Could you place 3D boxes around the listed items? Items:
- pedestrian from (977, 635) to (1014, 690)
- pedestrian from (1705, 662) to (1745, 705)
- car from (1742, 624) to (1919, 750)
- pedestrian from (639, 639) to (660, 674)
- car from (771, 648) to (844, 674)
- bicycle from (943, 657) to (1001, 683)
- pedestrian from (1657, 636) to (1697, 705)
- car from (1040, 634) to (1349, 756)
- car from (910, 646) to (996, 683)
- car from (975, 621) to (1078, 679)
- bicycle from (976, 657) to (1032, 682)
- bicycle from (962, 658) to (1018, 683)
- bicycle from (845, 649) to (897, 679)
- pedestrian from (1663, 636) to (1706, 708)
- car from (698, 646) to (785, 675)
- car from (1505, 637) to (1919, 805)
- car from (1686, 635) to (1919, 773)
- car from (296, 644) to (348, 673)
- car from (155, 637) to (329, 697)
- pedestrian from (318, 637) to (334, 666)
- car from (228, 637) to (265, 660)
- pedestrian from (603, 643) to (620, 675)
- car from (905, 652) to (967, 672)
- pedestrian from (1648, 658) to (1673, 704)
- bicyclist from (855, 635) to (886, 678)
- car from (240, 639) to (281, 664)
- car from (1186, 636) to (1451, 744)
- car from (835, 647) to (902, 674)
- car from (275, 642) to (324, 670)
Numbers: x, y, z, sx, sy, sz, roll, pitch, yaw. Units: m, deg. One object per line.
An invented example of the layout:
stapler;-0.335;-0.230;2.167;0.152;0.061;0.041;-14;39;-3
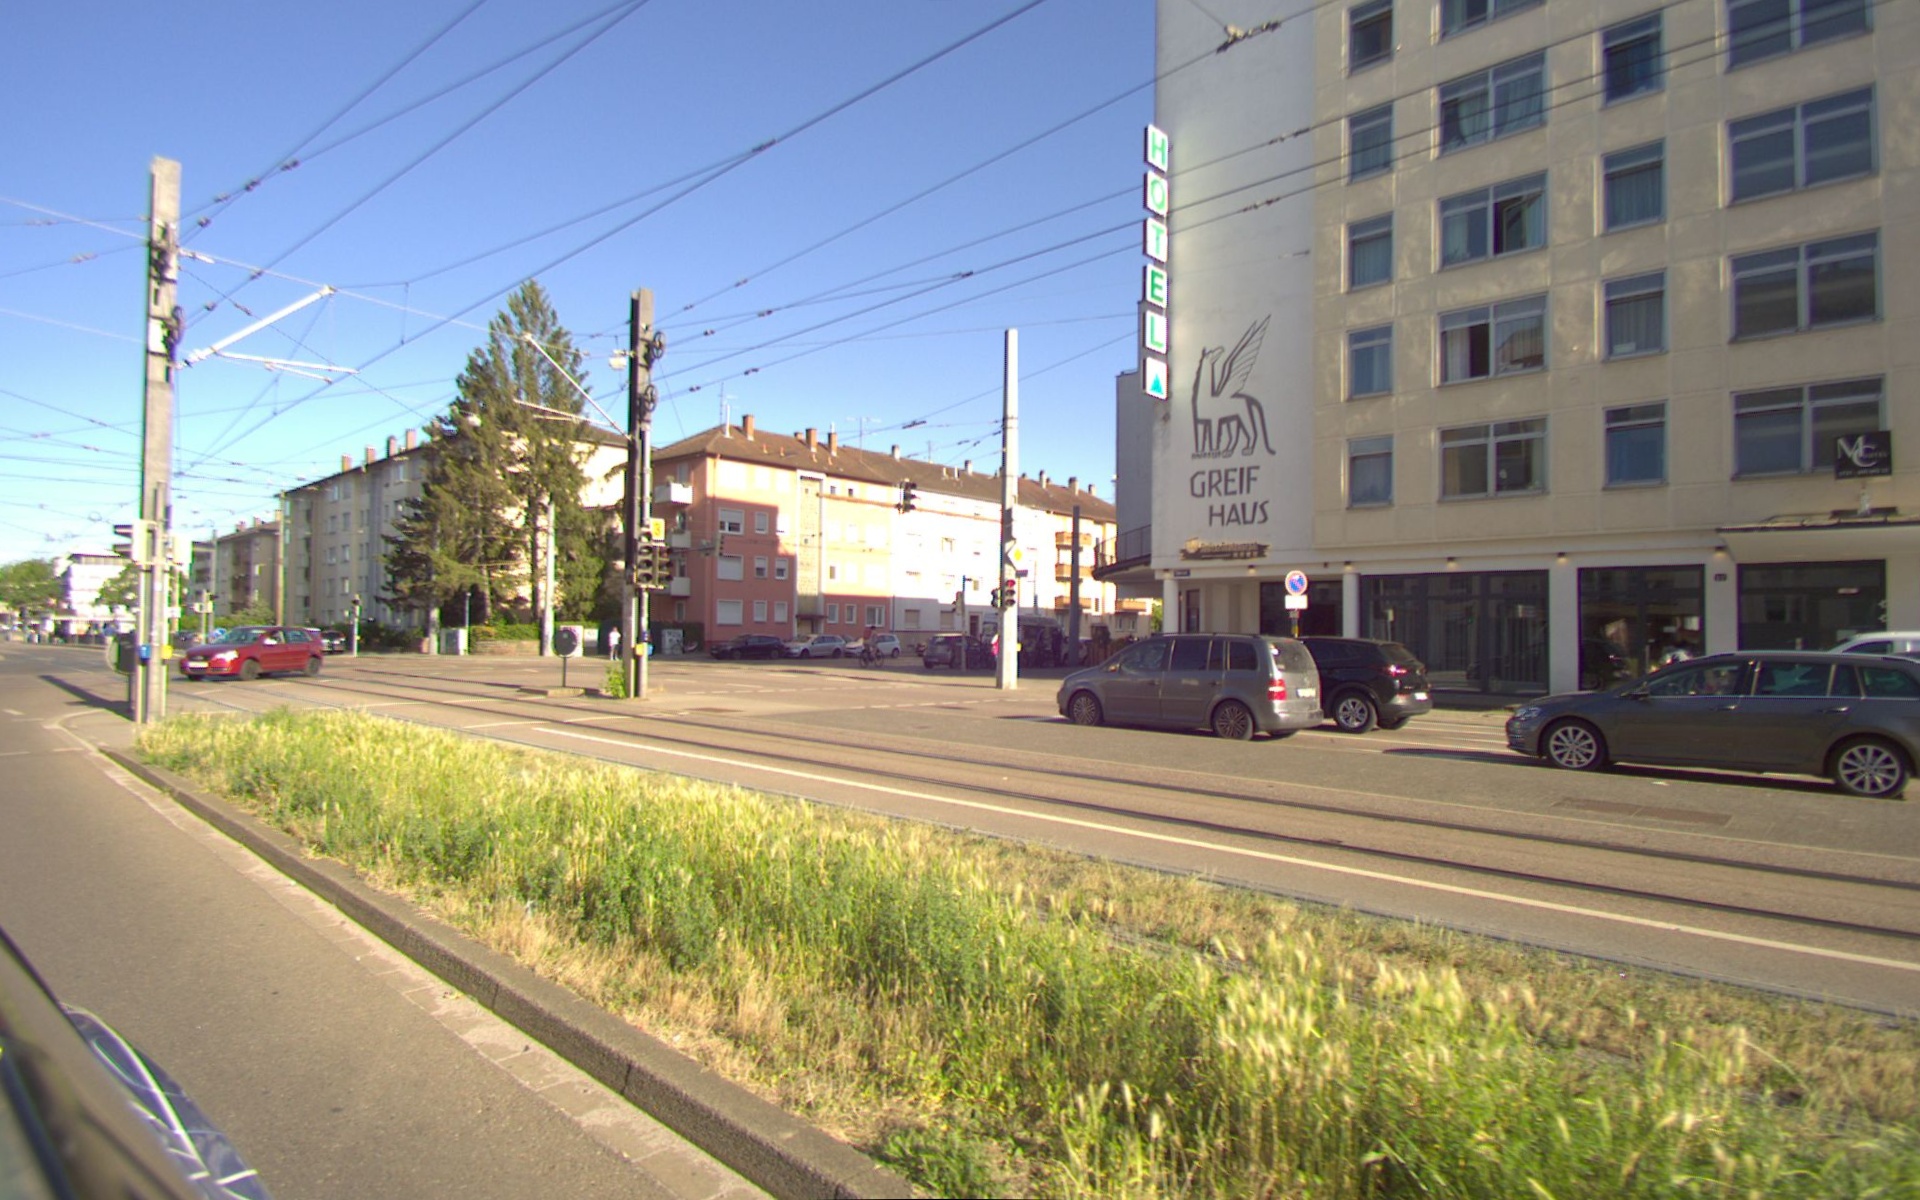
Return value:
pedestrian;1.198;2.091;34.106;0.909;1.759;0.727;1;-1;41
pedestrian;15.489;1.687;20.500;0.574;0.815;0.523;2;-1;30
car;15.886;1.362;16.055;5.327;1.883;1.921;-1;0;44
pedestrian;-16.344;2.969;53.277;0.777;1.735;0.701;2;-1;14
car;-9.161;3.654;60.963;1.910;1.447;4.045;2;-1;42
bicycle;0.464;2.745;39.823;2.257;1.009;0.845;-3;-4;40
pedestrian;14.979;1.463;21.160;0.600;1.386;0.495;2;-1;29
car;3.591;1.390;16.072;1.908;1.560;4.456;3;-2;-44
car;-0.252;2.722;43.345;1.661;1.442;3.838;2;-1;38
car;3.151;2.306;46.954;2.270;2.500;4.941;0;-2;39
bicycle;1.821;2.863;41.917;2.257;1.009;0.845;-3;-4;40
bicycle;1.202;2.840;40.987;2.257;1.009;0.845;-3;-4;40
bicycle;-3.666;2.639;41.867;2.032;1.190;0.815;3;-1;-41
pedestrian;14.511;1.431;20.287;0.525;1.386;0.680;2;-1;22
car;-12.347;3.439;57.427;2.159;1.442;4.381;2;-3;39
car;8.783;1.227;11.190;1.797;1.502;4.544;3;-2;-45
car;11.984;1.304;12.851;4.322;1.587;1.961;0;-2;42
car;-39.637;3.604;62.825;1.844;1.640;4.075;3;-3;-44
car;-19.424;1.775;27.603;1.762;1.497;3.821;0;-2;6
pedestrian;-43.401;3.513;69.262;0.689;1.900;0.781;3;-1;-44
car;-54.449;3.704;77.248;3.646;1.537;1.538;2;-1;43
pedestrian;-17.665;2.987;51.310;0.518;1.580;0.565;1;-1;42
car;-1.626;4.261;70.171;1.952;1.248;4.225;2;-1;40
pedestrian;14.495;1.671;20.947;0.322;0.923;0.307;2;-1;18
bicyclist;-3.700;2.318;41.839;0.920;1.705;0.815;3;-1;-41
car;-51.175;3.737;74.018;3.789;1.569;1.638;2;-1;43
car;6.243;1.497;17.865;4.045;1.587;1.770;0;-2;42
car;-5.831;3.846;64.801;1.746;1.537;4.172;2;-1;41
car;-43.683;3.664;66.934;4.034;1.610;1.748;1;-1;43
